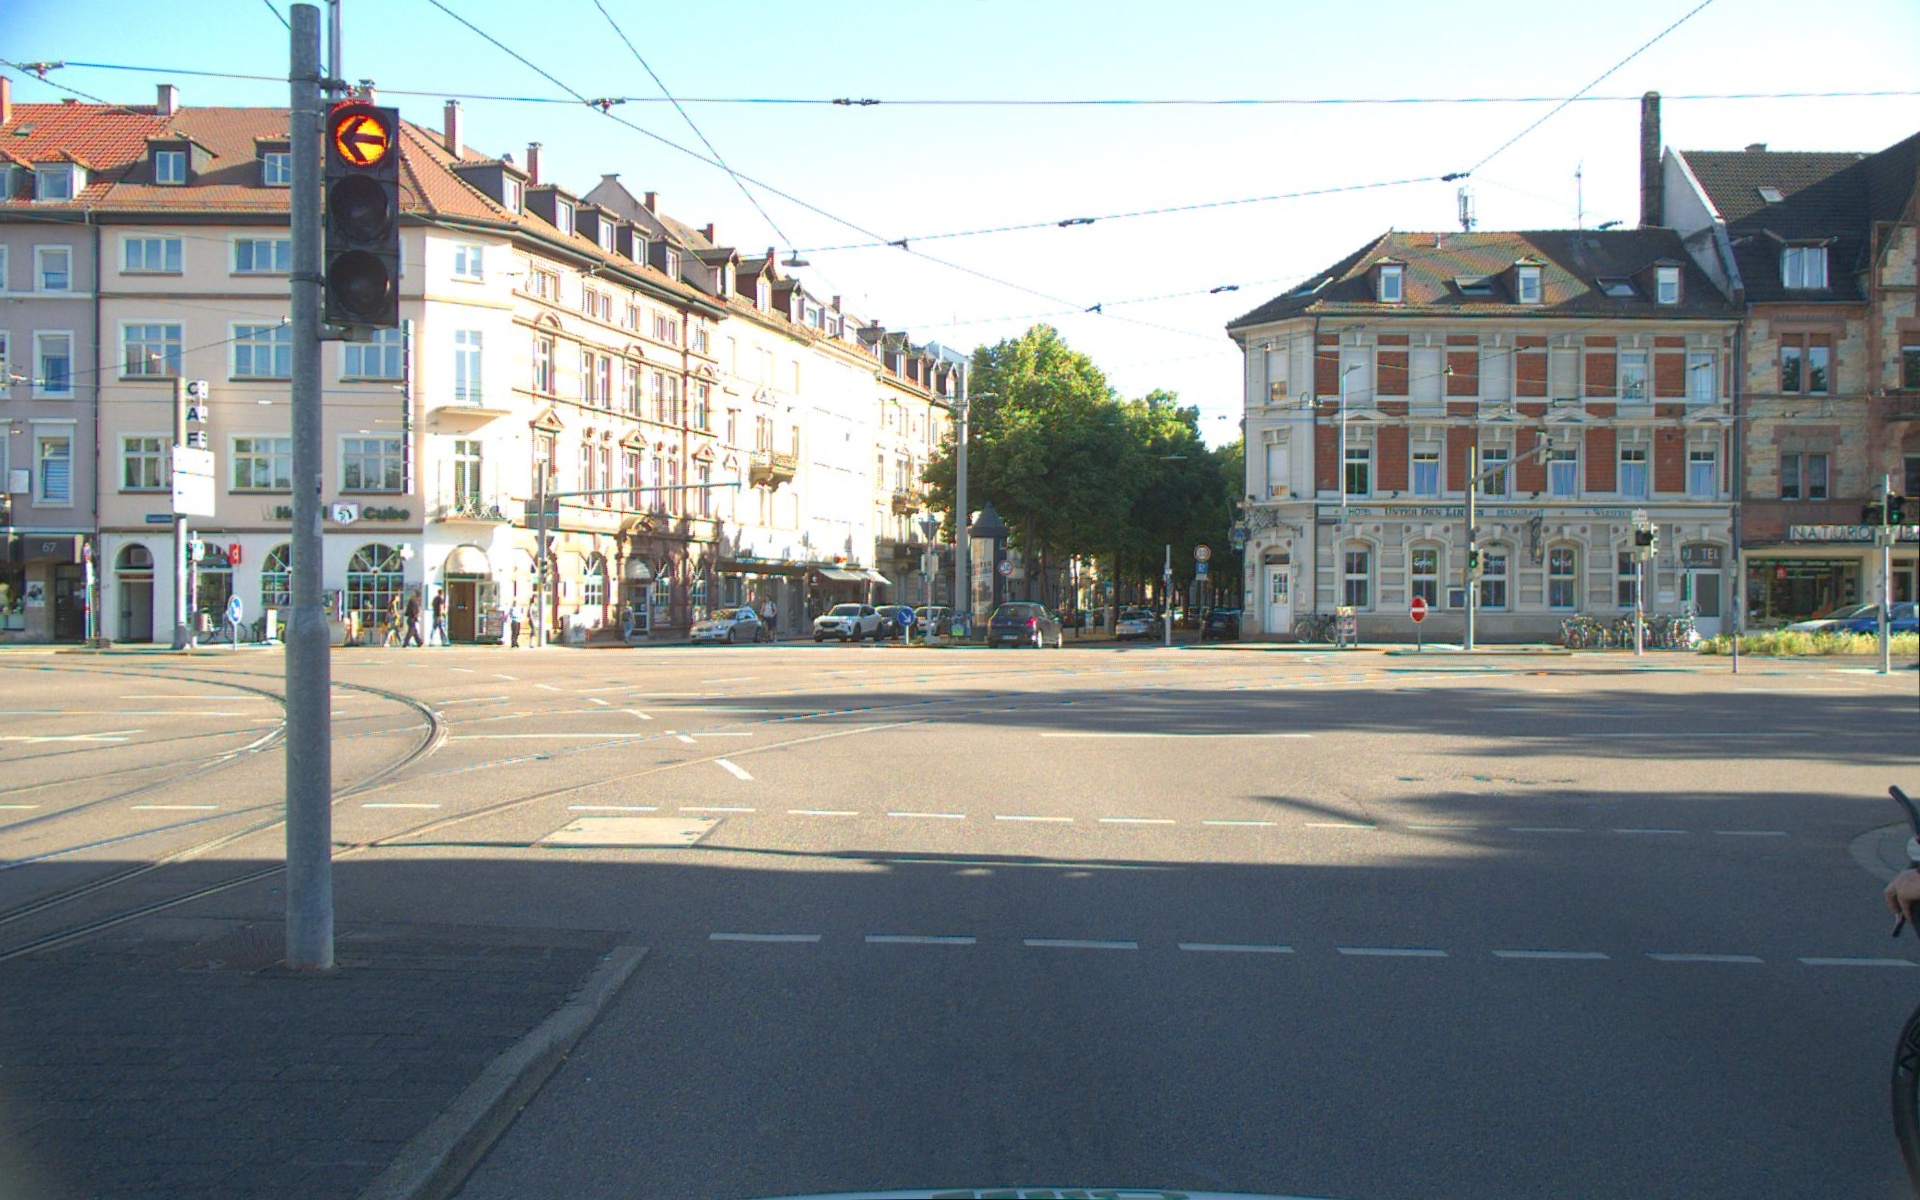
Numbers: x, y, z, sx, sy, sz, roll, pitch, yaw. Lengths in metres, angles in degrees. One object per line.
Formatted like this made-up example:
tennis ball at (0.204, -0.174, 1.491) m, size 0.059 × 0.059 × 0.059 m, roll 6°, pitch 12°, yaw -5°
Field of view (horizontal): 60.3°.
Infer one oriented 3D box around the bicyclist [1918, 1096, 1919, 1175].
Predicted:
bicyclist at (2.340, 0.481, 3.053) m, size 0.625 × 1.520 × 0.884 m, roll 1°, pitch 1°, yaw 3°

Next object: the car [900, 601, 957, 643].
car at (-1.498, 1.066, 79.815) m, size 1.951 × 1.937 × 4.003 m, roll 1°, pitch 0°, yaw 11°

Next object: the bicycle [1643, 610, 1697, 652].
bicycle at (22.802, 0.969, 53.170) m, size 0.615 × 1.309 × 2.661 m, roll 1°, pitch 0°, yaw 0°

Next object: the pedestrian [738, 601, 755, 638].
pedestrian at (-9.769, 0.905, 75.800) m, size 0.532 × 1.660 × 0.707 m, roll 1°, pitch -1°, yaw 13°

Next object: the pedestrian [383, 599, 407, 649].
pedestrian at (-18.639, 0.790, 54.584) m, size 0.620 × 1.640 × 0.465 m, roll 1°, pitch -1°, yaw -5°

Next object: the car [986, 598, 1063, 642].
car at (2.182, 0.660, 54.788) m, size 1.716 × 1.386 × 3.858 m, roll 1°, pitch 0°, yaw 15°

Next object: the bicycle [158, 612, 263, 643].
bicycle at (-25.513, 0.941, 56.349) m, size 3.066 × 0.997 × 1.001 m, roll 1°, pitch 0°, yaw -1°

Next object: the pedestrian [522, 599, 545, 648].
pedestrian at (-14.659, 0.791, 56.847) m, size 0.620 × 1.662 × 0.700 m, roll 1°, pitch -1°, yaw -4°

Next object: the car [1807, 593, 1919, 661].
car at (25.934, 0.761, 46.045) m, size 3.706 × 1.809 × 1.999 m, roll 1°, pitch 0°, yaw -2°

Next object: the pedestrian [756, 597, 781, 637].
pedestrian at (-7.537, 0.665, 65.084) m, size 0.803 × 1.539 × 0.598 m, roll 1°, pitch -1°, yaw 14°

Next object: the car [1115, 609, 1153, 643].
car at (8.272, 1.234, 78.761) m, size 1.734 × 1.557 × 4.002 m, roll 1°, pitch 0°, yaw 5°

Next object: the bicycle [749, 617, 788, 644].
bicycle at (-7.525, 1.204, 65.155) m, size 0.746 × 1.025 × 2.398 m, roll 1°, pitch 0°, yaw 13°

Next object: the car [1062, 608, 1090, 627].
car at (9.605, 1.426, 136.347) m, size 1.526 × 1.540 × 3.658 m, roll 1°, pitch 0°, yaw 16°

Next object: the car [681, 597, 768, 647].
car at (-9.483, 0.876, 66.934) m, size 1.951 × 1.937 × 4.002 m, roll 1°, pitch 0°, yaw 17°

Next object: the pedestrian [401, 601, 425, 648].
pedestrian at (-17.841, 0.801, 53.914) m, size 0.620 × 1.502 × 0.465 m, roll 1°, pitch -1°, yaw -5°

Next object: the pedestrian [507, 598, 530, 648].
pedestrian at (-14.857, 0.776, 55.668) m, size 0.620 × 1.662 × 0.700 m, roll 1°, pitch -1°, yaw -4°

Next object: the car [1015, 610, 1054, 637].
car at (5.550, 1.768, 122.834) m, size 1.951 × 1.937 × 4.002 m, roll 1°, pitch 0°, yaw 16°

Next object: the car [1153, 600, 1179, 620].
car at (16.816, 0.829, 134.904) m, size 1.526 × 1.540 × 3.658 m, roll 1°, pitch 0°, yaw 16°

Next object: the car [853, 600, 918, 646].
car at (-3.271, 1.010, 73.593) m, size 1.951 × 1.937 × 4.003 m, roll 1°, pitch 0°, yaw 11°

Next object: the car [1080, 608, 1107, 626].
car at (11.513, 1.485, 142.561) m, size 1.526 × 1.540 × 3.658 m, roll 1°, pitch 0°, yaw 16°

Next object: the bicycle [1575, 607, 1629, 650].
bicycle at (20.599, 0.896, 53.123) m, size 0.678 × 1.309 × 2.661 m, roll 1°, pitch 0°, yaw 0°

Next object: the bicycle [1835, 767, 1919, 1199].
bicycle at (2.356, 0.950, 3.060) m, size 0.613 × 1.104 × 1.703 m, roll 1°, pitch 0°, yaw 2°

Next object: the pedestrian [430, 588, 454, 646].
pedestrian at (-17.244, 0.574, 55.082) m, size 0.620 × 1.914 × 0.465 m, roll 1°, pitch -1°, yaw -5°

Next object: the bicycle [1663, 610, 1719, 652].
bicycle at (23.486, 0.988, 53.169) m, size 0.615 × 1.309 × 2.661 m, roll 1°, pitch 0°, yaw 0°

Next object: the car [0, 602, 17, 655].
car at (-32.383, 0.913, 52.428) m, size 3.902 × 1.699 × 2.002 m, roll 0°, pitch 0°, yaw 8°

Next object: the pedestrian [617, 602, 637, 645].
pedestrian at (-13.018, 0.905, 64.676) m, size 0.532 × 1.660 × 0.707 m, roll 1°, pitch -1°, yaw 13°

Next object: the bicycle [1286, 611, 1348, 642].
bicycle at (12.354, 0.913, 57.267) m, size 2.006 × 1.015 × 0.631 m, roll 1°, pitch 0°, yaw 2°

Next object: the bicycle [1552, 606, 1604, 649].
bicycle at (19.828, 0.865, 53.141) m, size 0.678 × 1.309 × 2.661 m, roll 1°, pitch 0°, yaw 0°

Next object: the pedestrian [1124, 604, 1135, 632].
pedestrian at (11.323, 1.182, 110.310) m, size 0.626 × 1.827 × 0.491 m, roll 1°, pitch -1°, yaw 12°

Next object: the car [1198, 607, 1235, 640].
car at (12.873, 1.144, 82.771) m, size 1.655 × 1.592 × 3.844 m, roll 1°, pitch 0°, yaw 11°

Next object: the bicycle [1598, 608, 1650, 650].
bicycle at (21.310, 0.910, 53.144) m, size 0.615 × 1.309 × 2.661 m, roll 1°, pitch 0°, yaw 0°

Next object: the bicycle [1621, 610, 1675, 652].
bicycle at (22.087, 0.971, 53.146) m, size 0.615 × 1.309 × 2.661 m, roll 1°, pitch 0°, yaw 0°

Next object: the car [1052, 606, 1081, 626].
car at (8.492, 1.287, 132.154) m, size 1.526 × 1.540 × 3.658 m, roll 1°, pitch 0°, yaw 16°

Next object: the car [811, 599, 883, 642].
car at (-4.563, 0.816, 67.301) m, size 1.951 × 1.646 × 4.003 m, roll 1°, pitch 0°, yaw 11°
